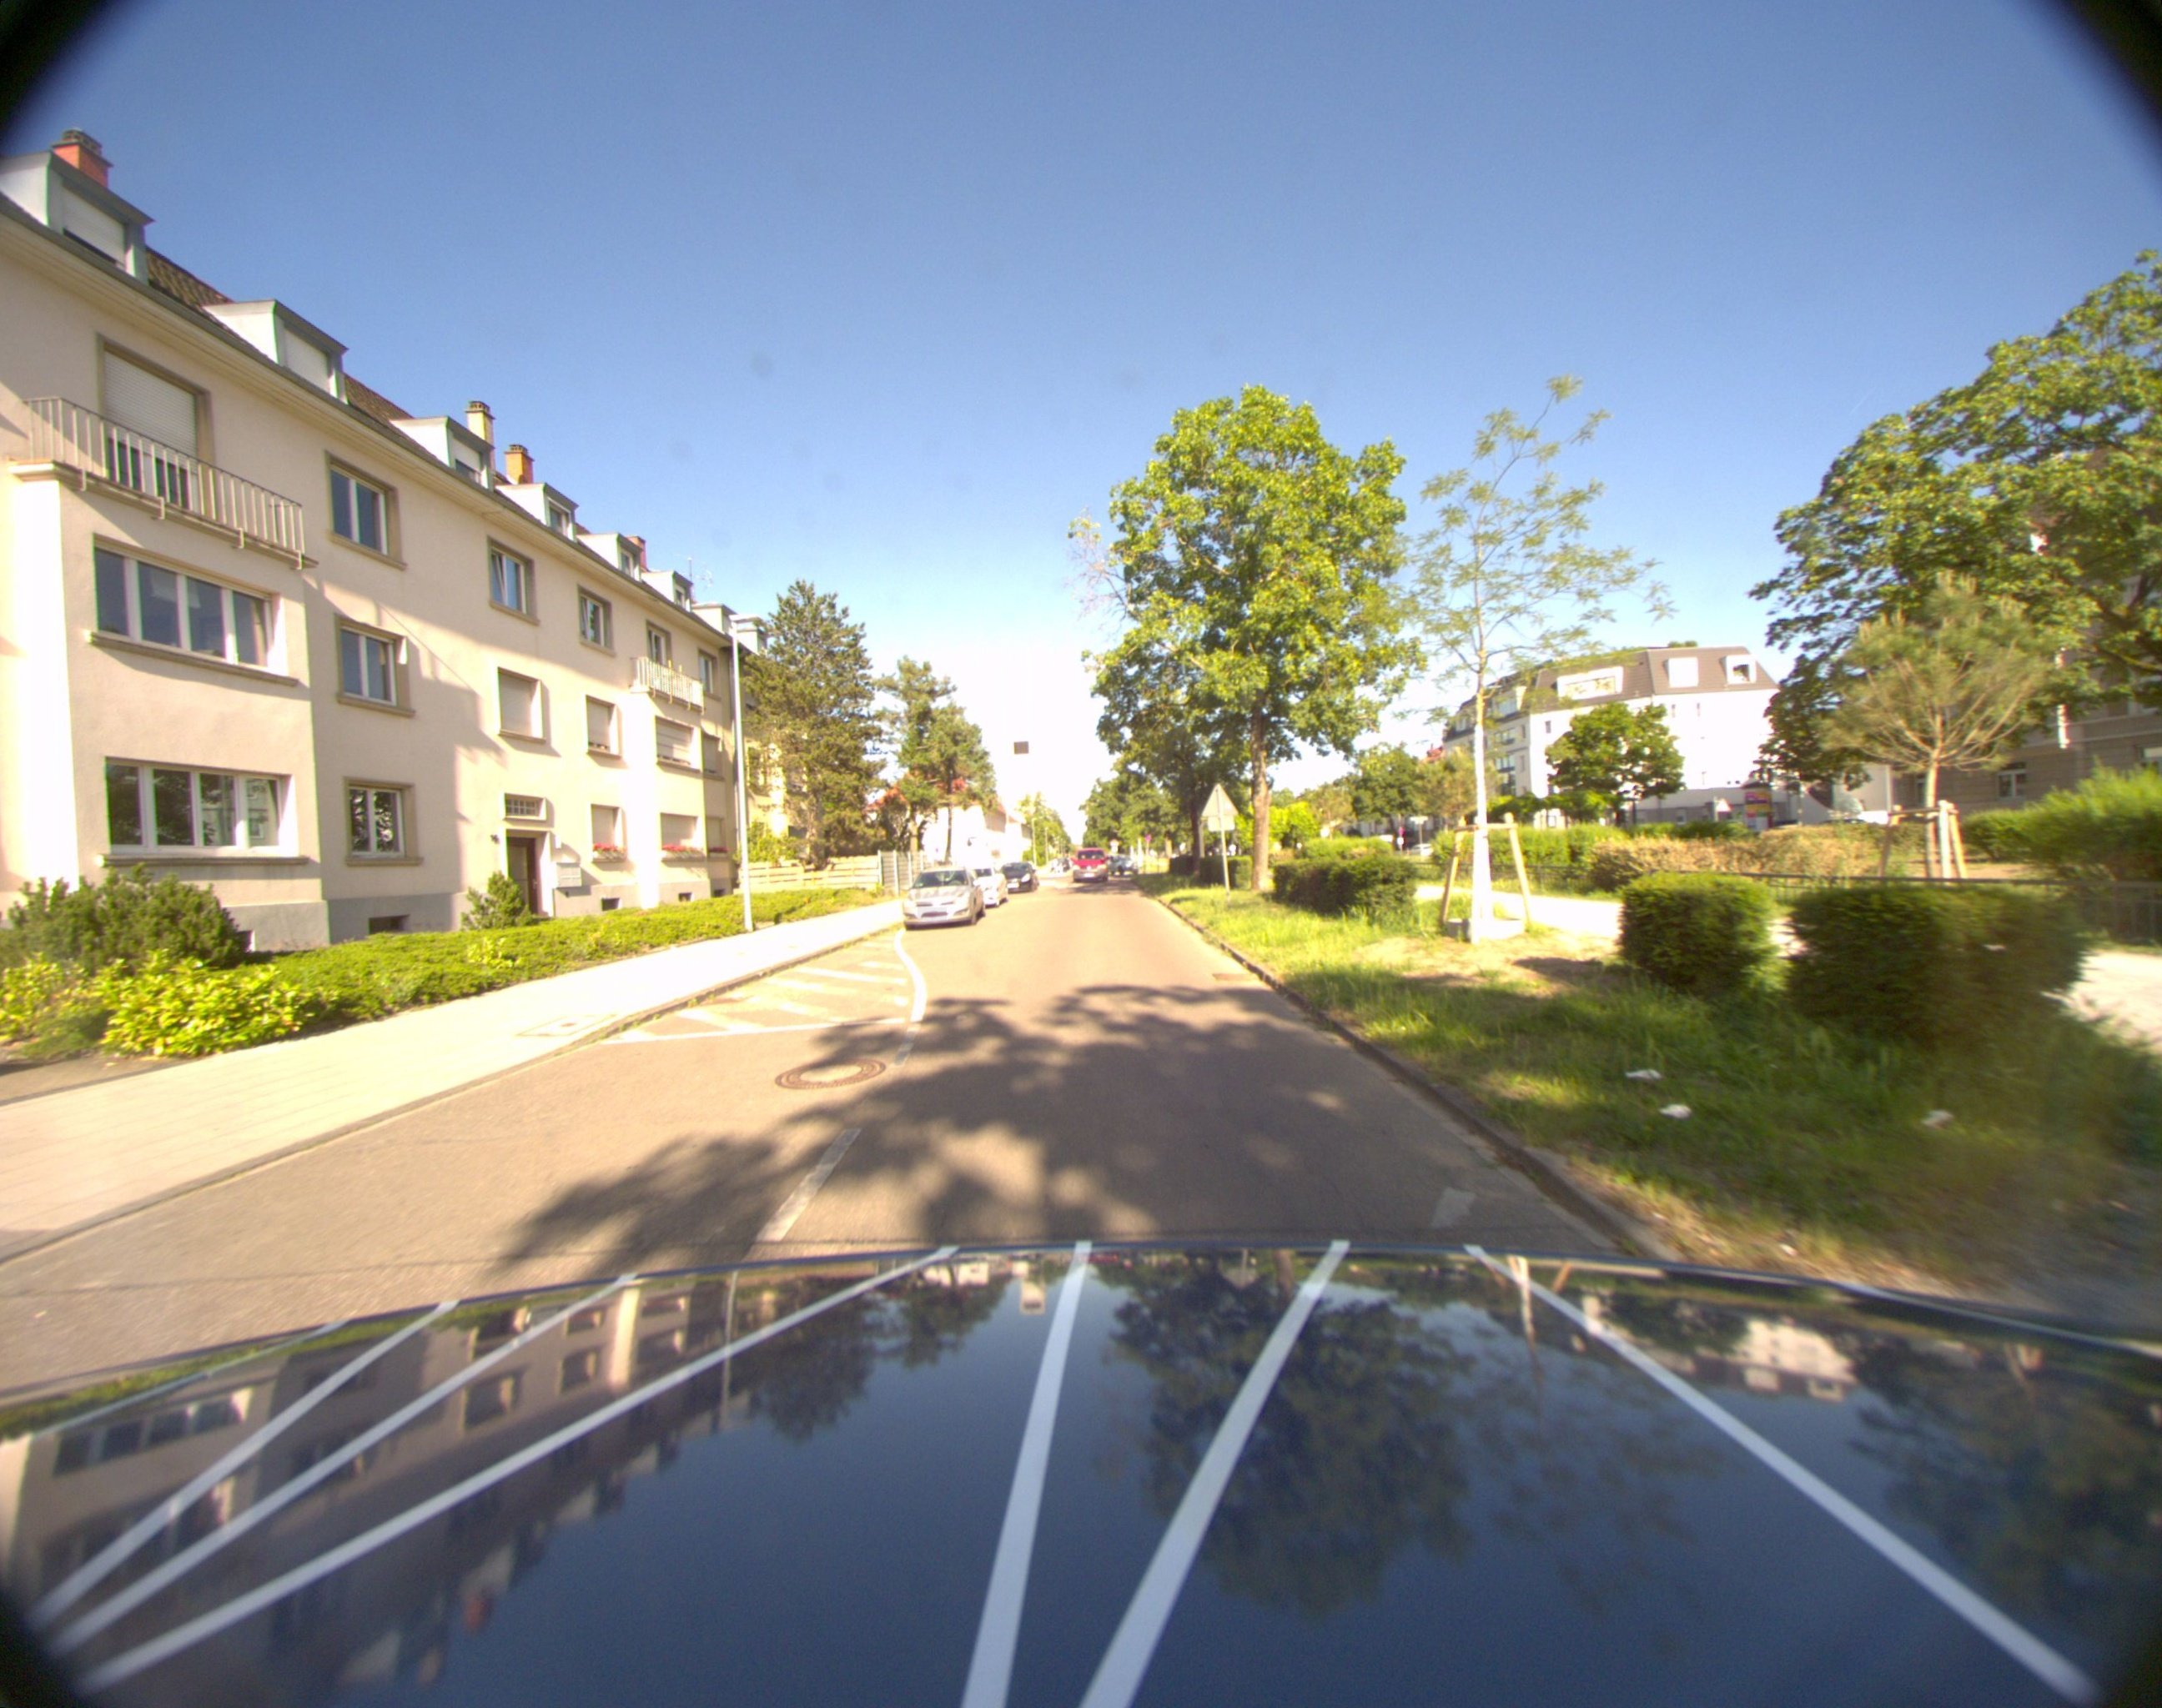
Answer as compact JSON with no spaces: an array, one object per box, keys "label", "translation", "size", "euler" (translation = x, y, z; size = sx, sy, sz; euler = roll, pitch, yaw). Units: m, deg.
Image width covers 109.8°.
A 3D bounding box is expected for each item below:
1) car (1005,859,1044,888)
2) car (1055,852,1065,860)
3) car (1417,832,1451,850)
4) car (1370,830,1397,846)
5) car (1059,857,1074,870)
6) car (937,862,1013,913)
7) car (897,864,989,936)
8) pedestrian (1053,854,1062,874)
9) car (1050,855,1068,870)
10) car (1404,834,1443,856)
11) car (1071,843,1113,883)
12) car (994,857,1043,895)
[{"label":"car","translation":[-3.099,1.045,42.298],"size":[1.676,1.414,4.134],"euler":[-4,0,1]},{"label":"car","translation":[-4.124,0.399,147.945],"size":[1.799,1.529,4.001],"euler":[-3,-1,0]},{"label":"car","translation":[41.001,-1.493,88.323],"size":[1.870,2.017,4.405],"euler":[-2,0,0]},{"label":"car","translation":[40.846,-2.116,102.677],"size":[1.941,2.017,4.406],"euler":[-2,0,3]},{"label":"car","translation":[-1.820,1.221,95.772],"size":[1.799,1.529,4.001],"euler":[-3,-1,0]},{"label":"car","translation":[-3.510,1.067,25.876],"size":[1.798,1.412,4.288],"euler":[-4,0,1]},{"label":"car","translation":[-3.405,1.074,19.520],"size":[1.664,1.456,4.410],"euler":[-4,0,-3]},{"label":"pedestrian","translation":[-1.979,0.837,64.398],"size":[0.650,1.658,0.649],"euler":[-2,3,-8]},{"label":"car","translation":[-2.456,0.992,85.496],"size":[1.799,1.529,4.001],"euler":[-3,-1,0]},{"label":"car","translation":[34.764,-0.889,77.240],"size":[1.870,2.017,4.406],"euler":[-2,-1,0]},{"label":"car","translation":[0.635,0.492,43.421],"size":[2.092,2.000,4.844],"euler":[-4,0,1]},{"label":"car","translation":[-2.888,0.996,35.983],"size":[1.798,1.501,3.995],"euler":[-4,0,1]}]
